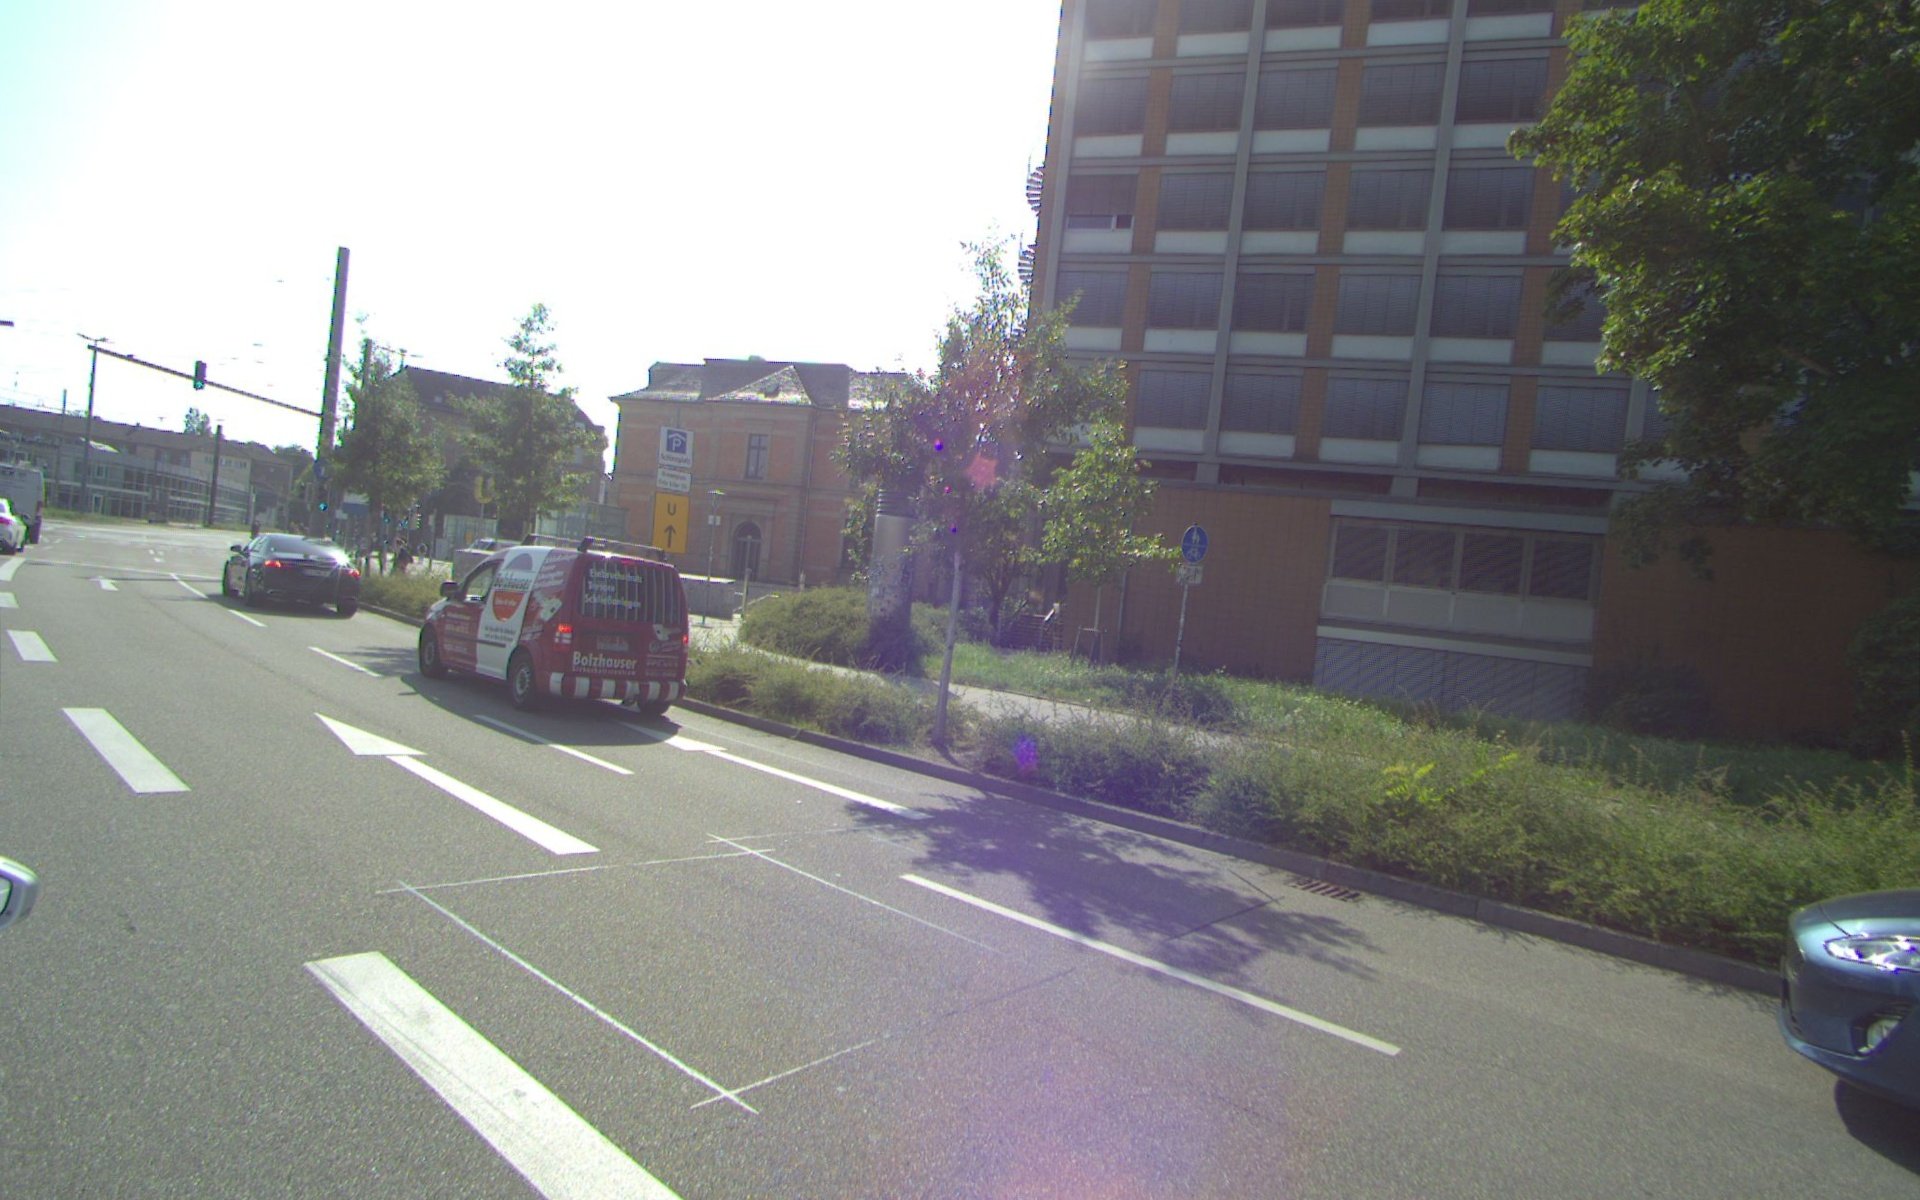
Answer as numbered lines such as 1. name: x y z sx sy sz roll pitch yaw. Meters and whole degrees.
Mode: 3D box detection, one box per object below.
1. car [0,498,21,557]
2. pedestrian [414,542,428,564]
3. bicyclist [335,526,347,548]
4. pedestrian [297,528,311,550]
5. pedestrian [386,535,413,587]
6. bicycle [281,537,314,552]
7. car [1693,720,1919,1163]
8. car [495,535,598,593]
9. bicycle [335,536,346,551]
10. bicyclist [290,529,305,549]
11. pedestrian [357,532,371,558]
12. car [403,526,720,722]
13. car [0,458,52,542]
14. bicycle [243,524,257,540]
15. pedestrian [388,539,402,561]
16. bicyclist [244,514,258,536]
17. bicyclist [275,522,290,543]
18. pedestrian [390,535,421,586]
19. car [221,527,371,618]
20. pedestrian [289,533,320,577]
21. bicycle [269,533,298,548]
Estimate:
1. car: -25.665 -2.000 26.217 3.891 1.420 1.485 5 -1 44
2. pedestrian: -35.992 -3.140 67.200 0.652 1.378 0.653 7 2 -29
3. bicyclist: -56.058 -5.704 91.076 0.741 1.852 0.799 6 1 -33
4. pedestrian: -50.596 -4.698 77.599 0.741 1.549 0.799 6 1 -33
5. pedestrian: -18.568 -1.298 33.317 0.609 1.659 0.530 6 1 -26
6. bicycle: -51.919 -4.325 78.807 2.035 0.905 0.740 7 0 -30
7. car: 5.047 1.446 3.110 4.262 1.444 1.634 6 -2 42
8. car: -18.414 -1.568 44.978 1.722 2.039 3.996 9 1 25
9. bicycle: -56.187 -5.123 91.188 0.734 1.233 2.226 6 1 -32
10. bicyclist: -51.898 -4.801 78.782 0.797 1.479 0.743 6 1 -30
11. pedestrian: -48.694 -4.461 82.182 0.741 2.039 0.799 6 1 -33
12. car: -4.913 0.214 12.078 4.219 1.841 1.729 6 -1 43
13. car: -33.108 -3.494 34.843 2.182 2.580 4.626 7 -1 -43
14. bicycle: -52.503 -5.016 74.410 0.701 1.074 1.965 6 0 -32
15. pedestrian: -36.725 -3.248 65.392 0.652 1.378 0.653 7 2 -29
16. bicyclist: -52.466 -5.524 74.434 0.707 1.549 0.799 6 1 -33
17. bicyclist: -53.194 -5.304 79.035 0.797 1.517 0.743 6 1 -30
18. pedestrian: -18.903 -1.347 34.309 0.525 1.649 0.614 7 1 34
19. car: -13.945 -0.629 20.990 1.814 1.457 4.816 7 -1 -42
20. pedestrian: -22.193 -1.528 34.050 0.625 1.379 0.635 7 1 40
21. bicycle: -53.195 -4.684 79.083 1.783 0.896 0.756 6 0 -30
